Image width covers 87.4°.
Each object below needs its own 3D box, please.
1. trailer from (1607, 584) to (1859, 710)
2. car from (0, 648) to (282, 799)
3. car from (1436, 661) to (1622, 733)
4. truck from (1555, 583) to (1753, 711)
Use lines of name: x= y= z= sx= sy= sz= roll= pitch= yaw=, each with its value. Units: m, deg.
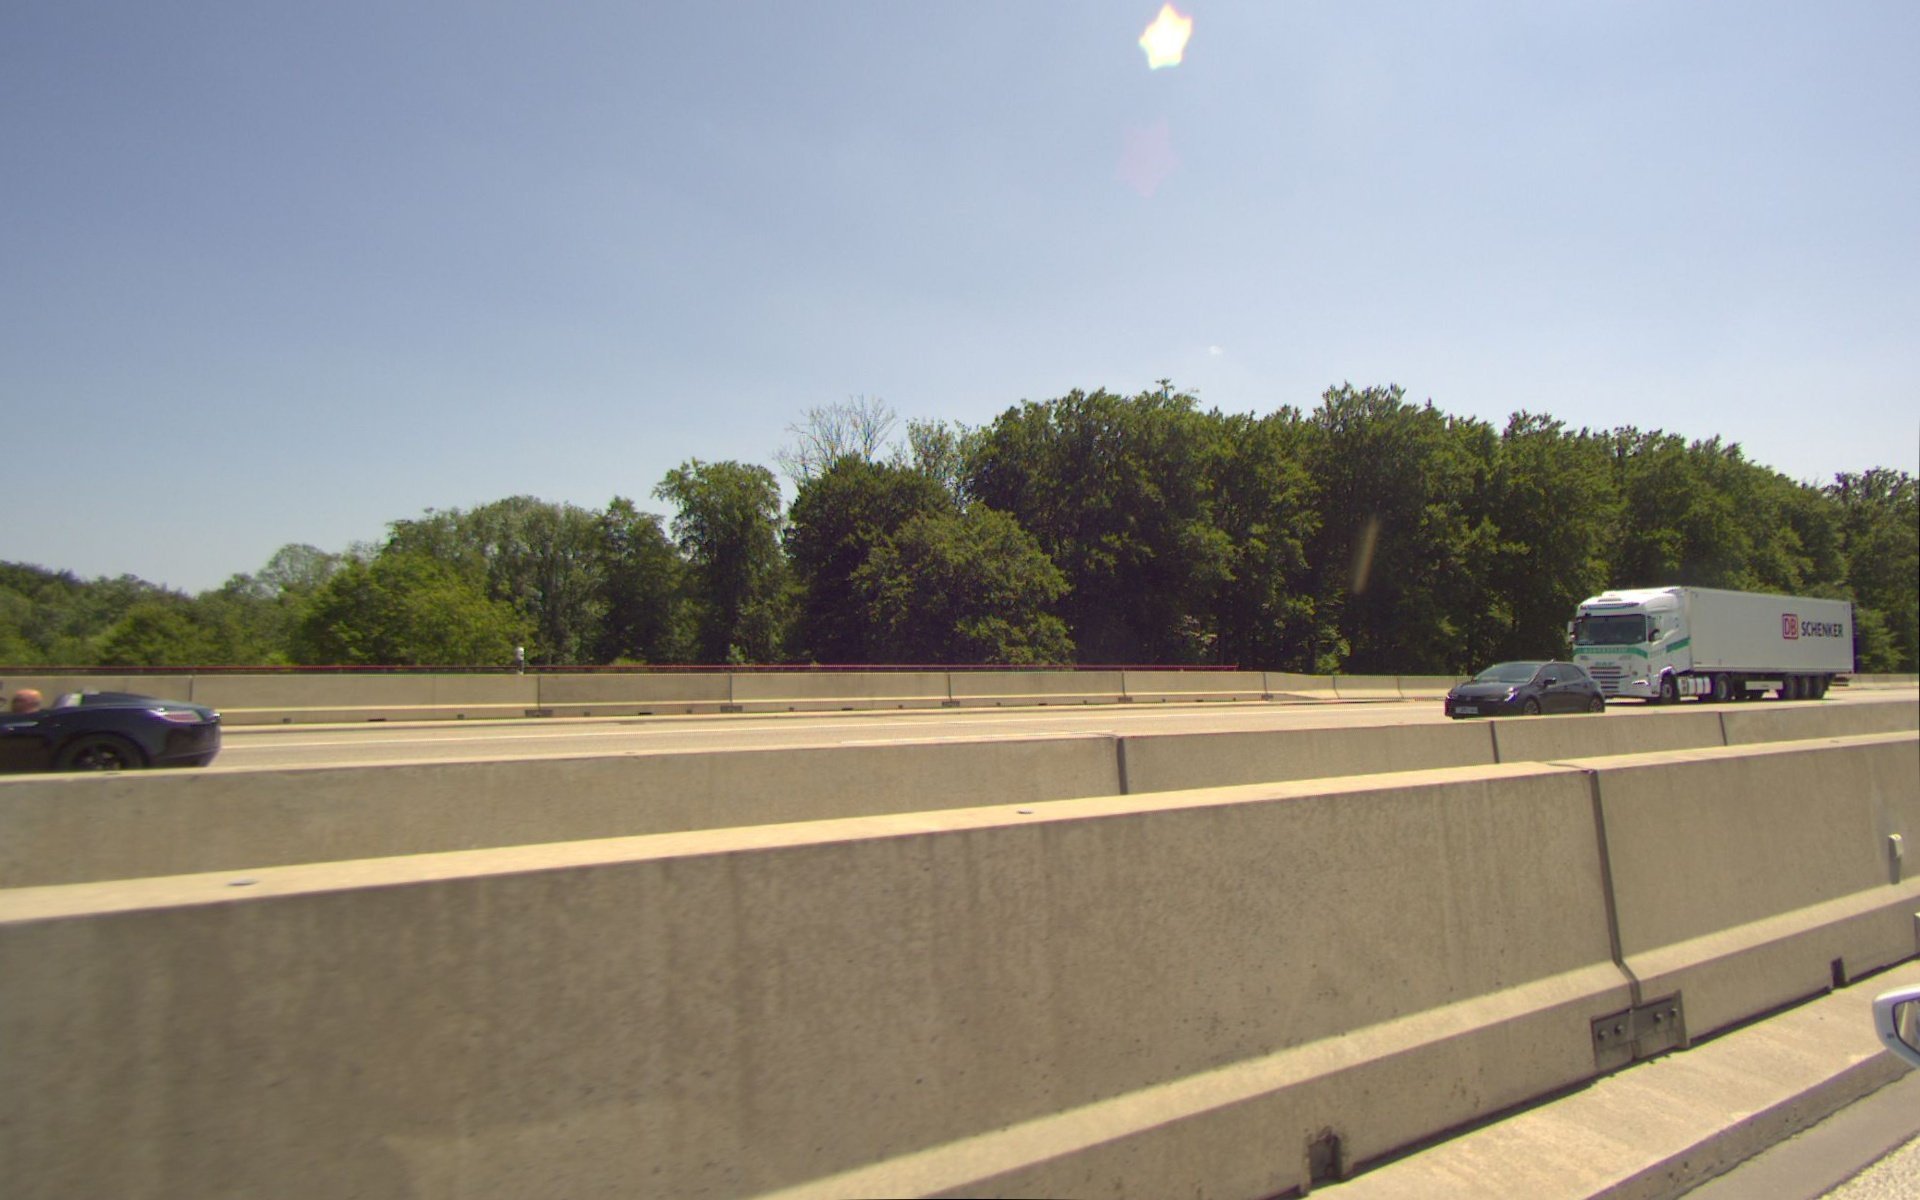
trailer: x=30.391 y=1.907 z=39.090 sx=14.196 sy=4.279 sz=2.630 roll=2 pitch=-4 yaw=-31
car: x=-9.503 y=1.177 z=9.925 sx=4.479 sy=1.393 sz=1.790 roll=2 pitch=-4 yaw=-31
car: x=13.082 y=2.153 z=23.047 sx=4.346 sy=1.500 sz=1.790 roll=2 pitch=-4 yaw=-31
truck: x=24.753 y=1.730 z=35.733 sx=7.786 sy=4.152 sz=2.703 roll=2 pitch=-4 yaw=-31
